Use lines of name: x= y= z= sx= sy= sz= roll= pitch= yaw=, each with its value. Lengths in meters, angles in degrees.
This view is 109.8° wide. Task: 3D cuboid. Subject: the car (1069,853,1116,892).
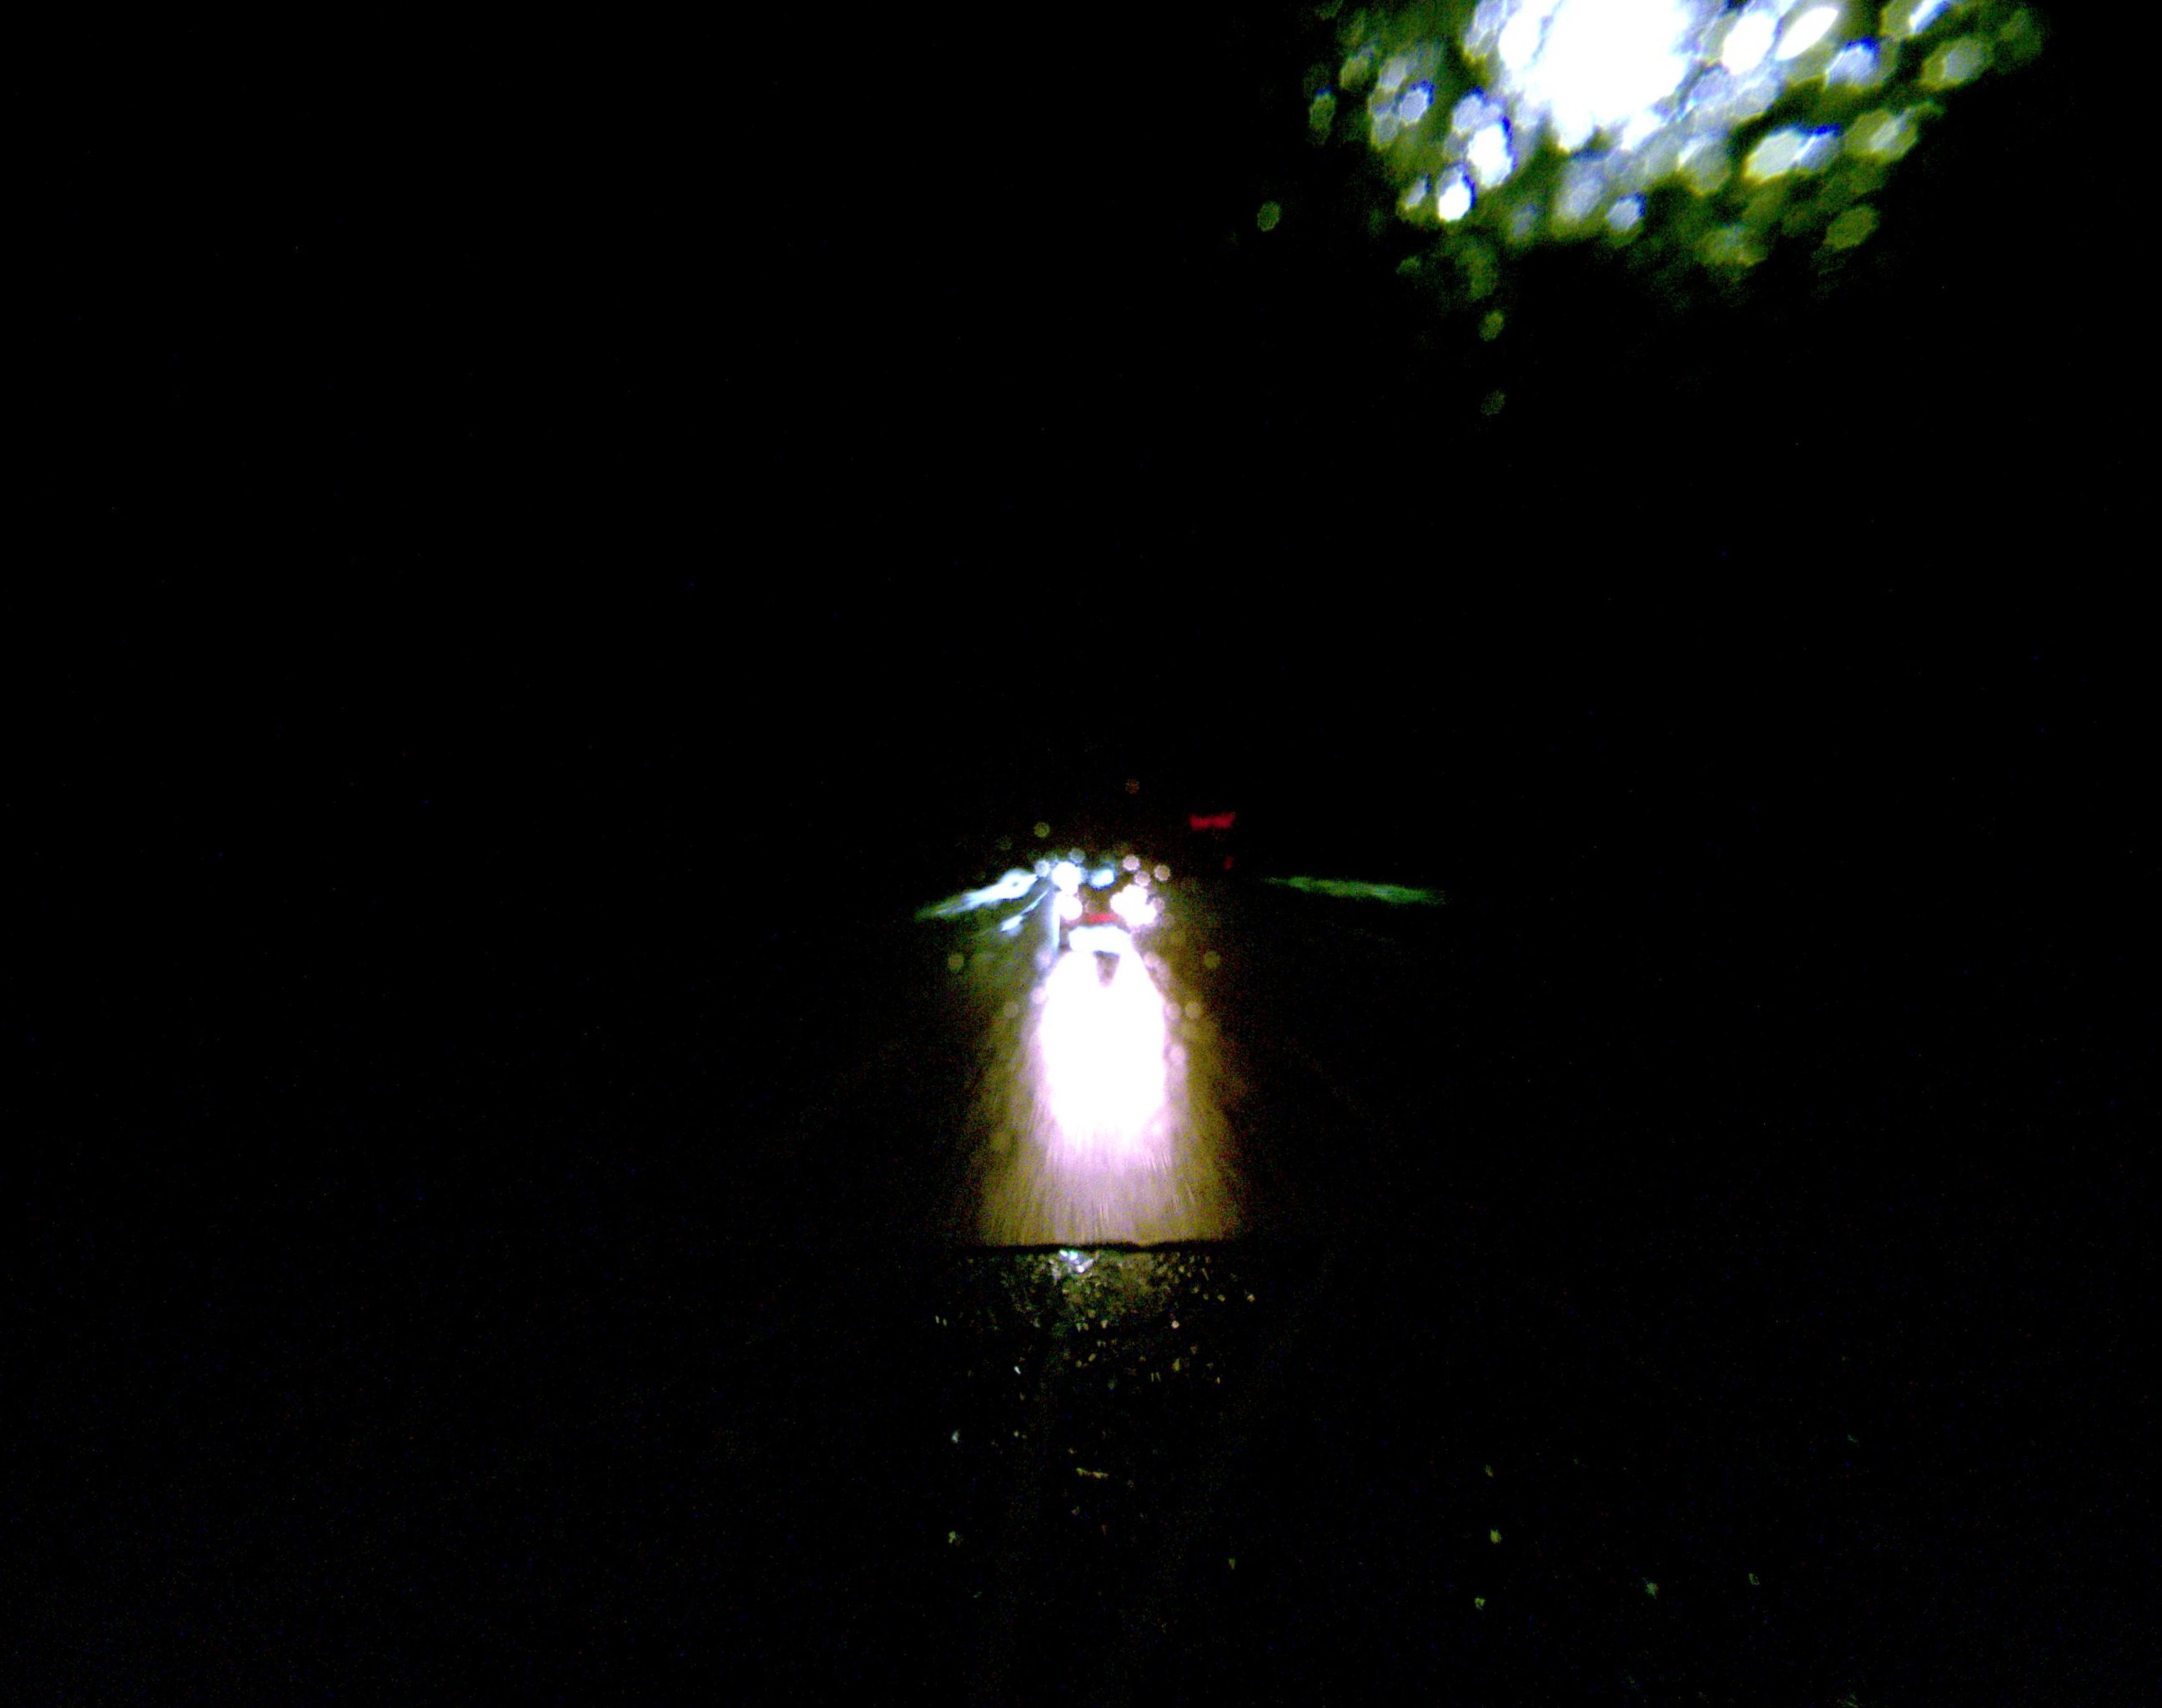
car: x=0.513 y=0.760 z=32.969 sx=1.849 sy=1.441 sz=3.874 roll=-3 pitch=1 yaw=1

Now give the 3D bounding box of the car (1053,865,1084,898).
car: x=-0.772 y=1.687 z=47.672 sx=1.784 sy=1.696 sz=3.999 roll=-3 pitch=1 yaw=0

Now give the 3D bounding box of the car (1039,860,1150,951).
car: x=0.372 y=0.908 z=15.118 sx=1.848 sy=1.440 sz=4.001 roll=-3 pitch=0 yaw=4
